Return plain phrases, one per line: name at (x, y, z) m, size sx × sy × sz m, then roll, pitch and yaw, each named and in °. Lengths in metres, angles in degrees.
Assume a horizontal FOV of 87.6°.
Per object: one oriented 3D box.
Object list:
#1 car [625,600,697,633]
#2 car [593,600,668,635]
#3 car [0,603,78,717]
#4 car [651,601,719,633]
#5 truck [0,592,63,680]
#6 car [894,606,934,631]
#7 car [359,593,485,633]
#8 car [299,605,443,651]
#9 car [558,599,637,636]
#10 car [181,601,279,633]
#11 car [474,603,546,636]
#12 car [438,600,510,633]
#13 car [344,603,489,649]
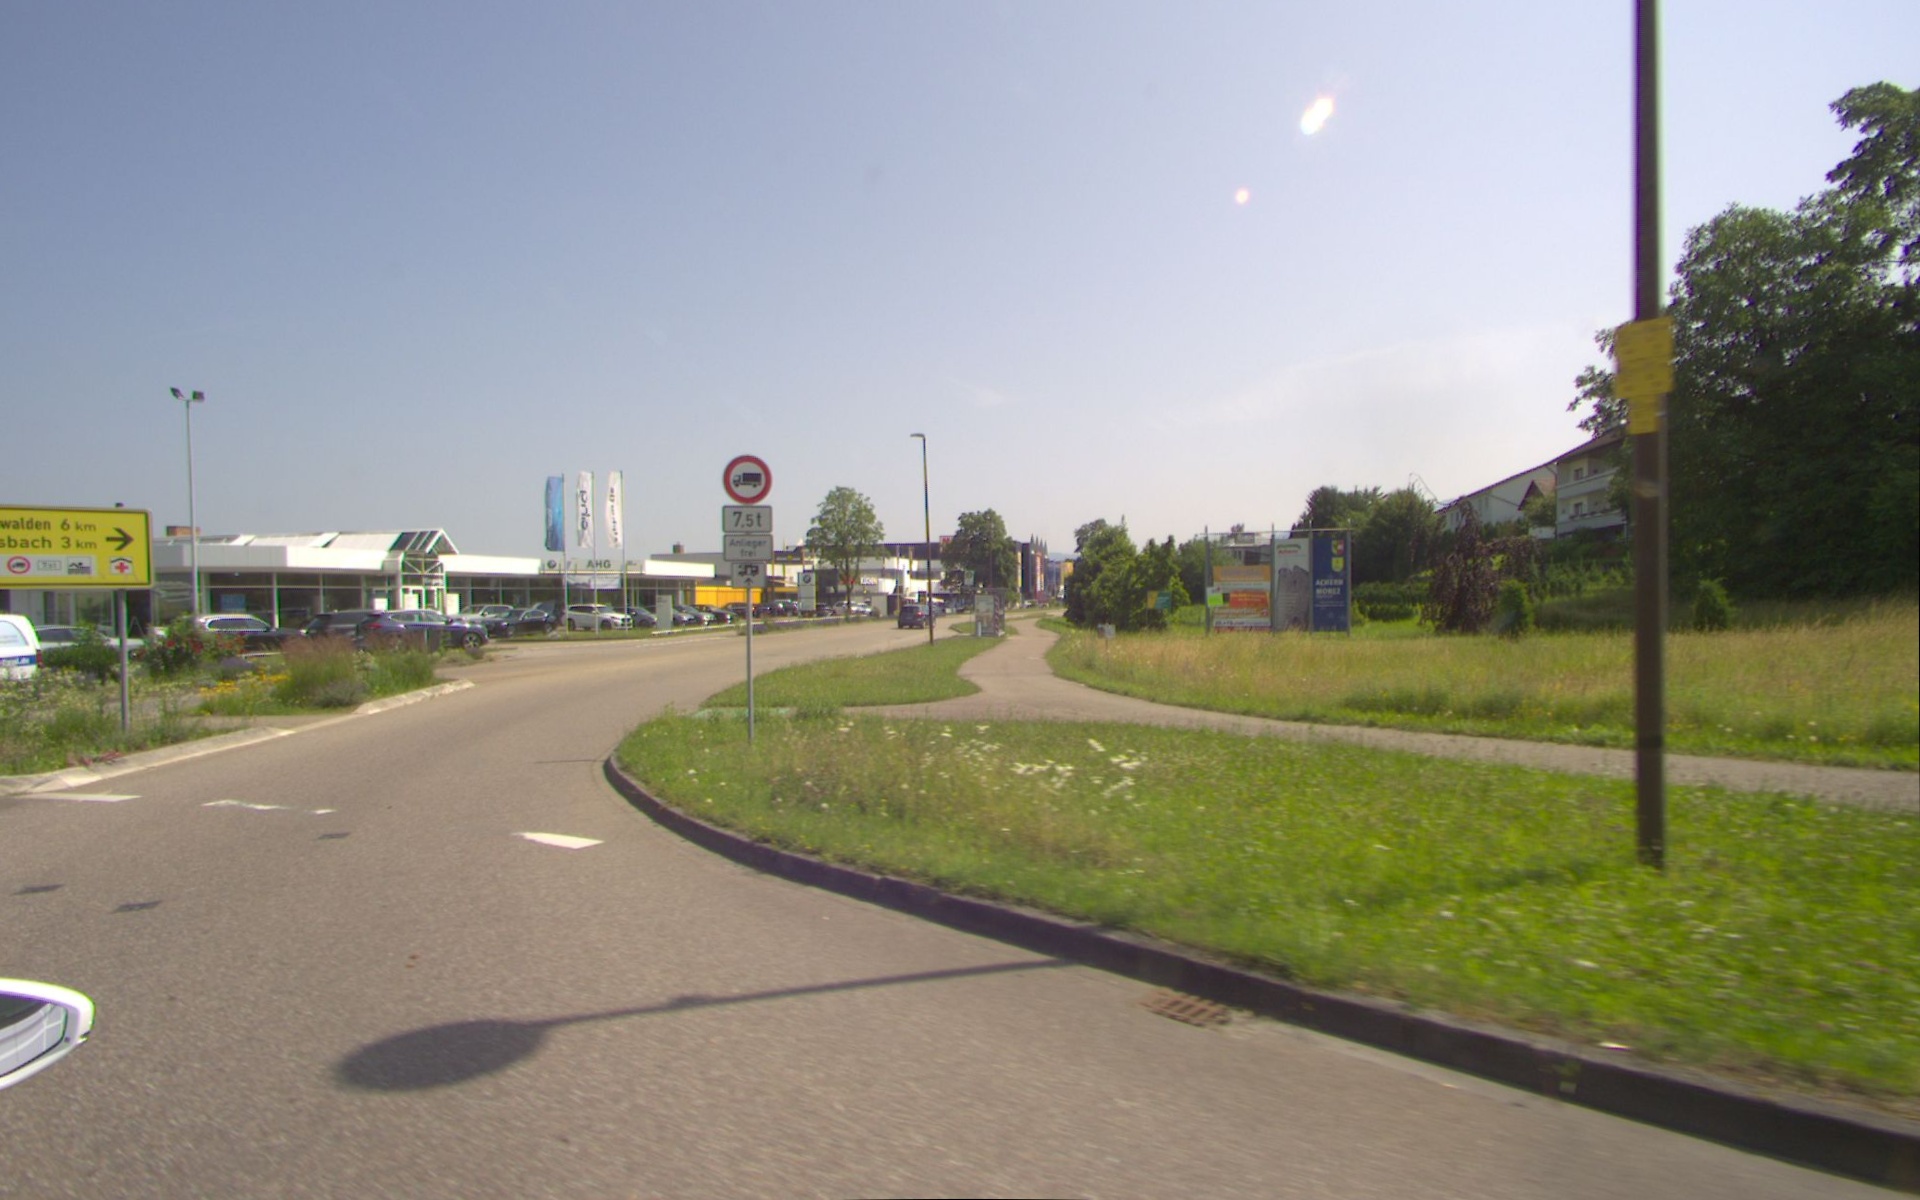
car at (-20.287, 1.150, 67.974) m, size 4.184 × 2.039 × 1.998 m, roll -3°, pitch -1°, yaw 15°
car at (-21.441, 1.132, 65.212) m, size 4.184 × 2.039 × 1.998 m, roll -3°, pitch -1°, yaw 15°
car at (-17.731, 1.055, 16.039) m, size 1.827 × 1.963 × 5.223 m, roll -2°, pitch -1°, yaw 16°
car at (-19.472, 1.189, 70.987) m, size 4.184 × 2.039 × 1.998 m, roll -3°, pitch -1°, yaw 15°
truck at (-30.975, 1.154, 30.203) m, size 1.914 × 2.701 × 5.618 m, roll -1°, pitch 1°, yaw 16°
car at (-2.992, 1.183, 65.985) m, size 1.740 × 1.504 × 4.038 m, roll -1°, pitch 1°, yaw 10°
car at (-22.858, 0.527, 42.681) m, size 1.889 × 1.533 × 4.336 m, roll 0°, pitch 1°, yaw 43°
car at (-22.200, 1.026, 37.861) m, size 1.889 × 1.533 × 4.336 m, roll 0°, pitch 1°, yaw 43°
car at (-22.440, 1.096, 61.997) m, size 4.184 × 2.039 × 1.998 m, roll -3°, pitch -1°, yaw 15°
car at (-39.808, 0.894, 54.714) m, size 1.875 × 1.607 × 4.034 m, roll -1°, pitch 1°, yaw 16°
car at (-24.207, 1.058, 53.941) m, size 1.553 × 1.675 × 3.695 m, roll -2°, pitch -1°, yaw 14°
car at (-26.800, 0.914, 55.376) m, size 1.553 × 1.675 × 3.695 m, roll -2°, pitch -1°, yaw 14°
car at (-19.988, 0.914, 36.970) m, size 1.889 × 1.533 × 4.336 m, roll 0°, pitch 1°, yaw 43°
